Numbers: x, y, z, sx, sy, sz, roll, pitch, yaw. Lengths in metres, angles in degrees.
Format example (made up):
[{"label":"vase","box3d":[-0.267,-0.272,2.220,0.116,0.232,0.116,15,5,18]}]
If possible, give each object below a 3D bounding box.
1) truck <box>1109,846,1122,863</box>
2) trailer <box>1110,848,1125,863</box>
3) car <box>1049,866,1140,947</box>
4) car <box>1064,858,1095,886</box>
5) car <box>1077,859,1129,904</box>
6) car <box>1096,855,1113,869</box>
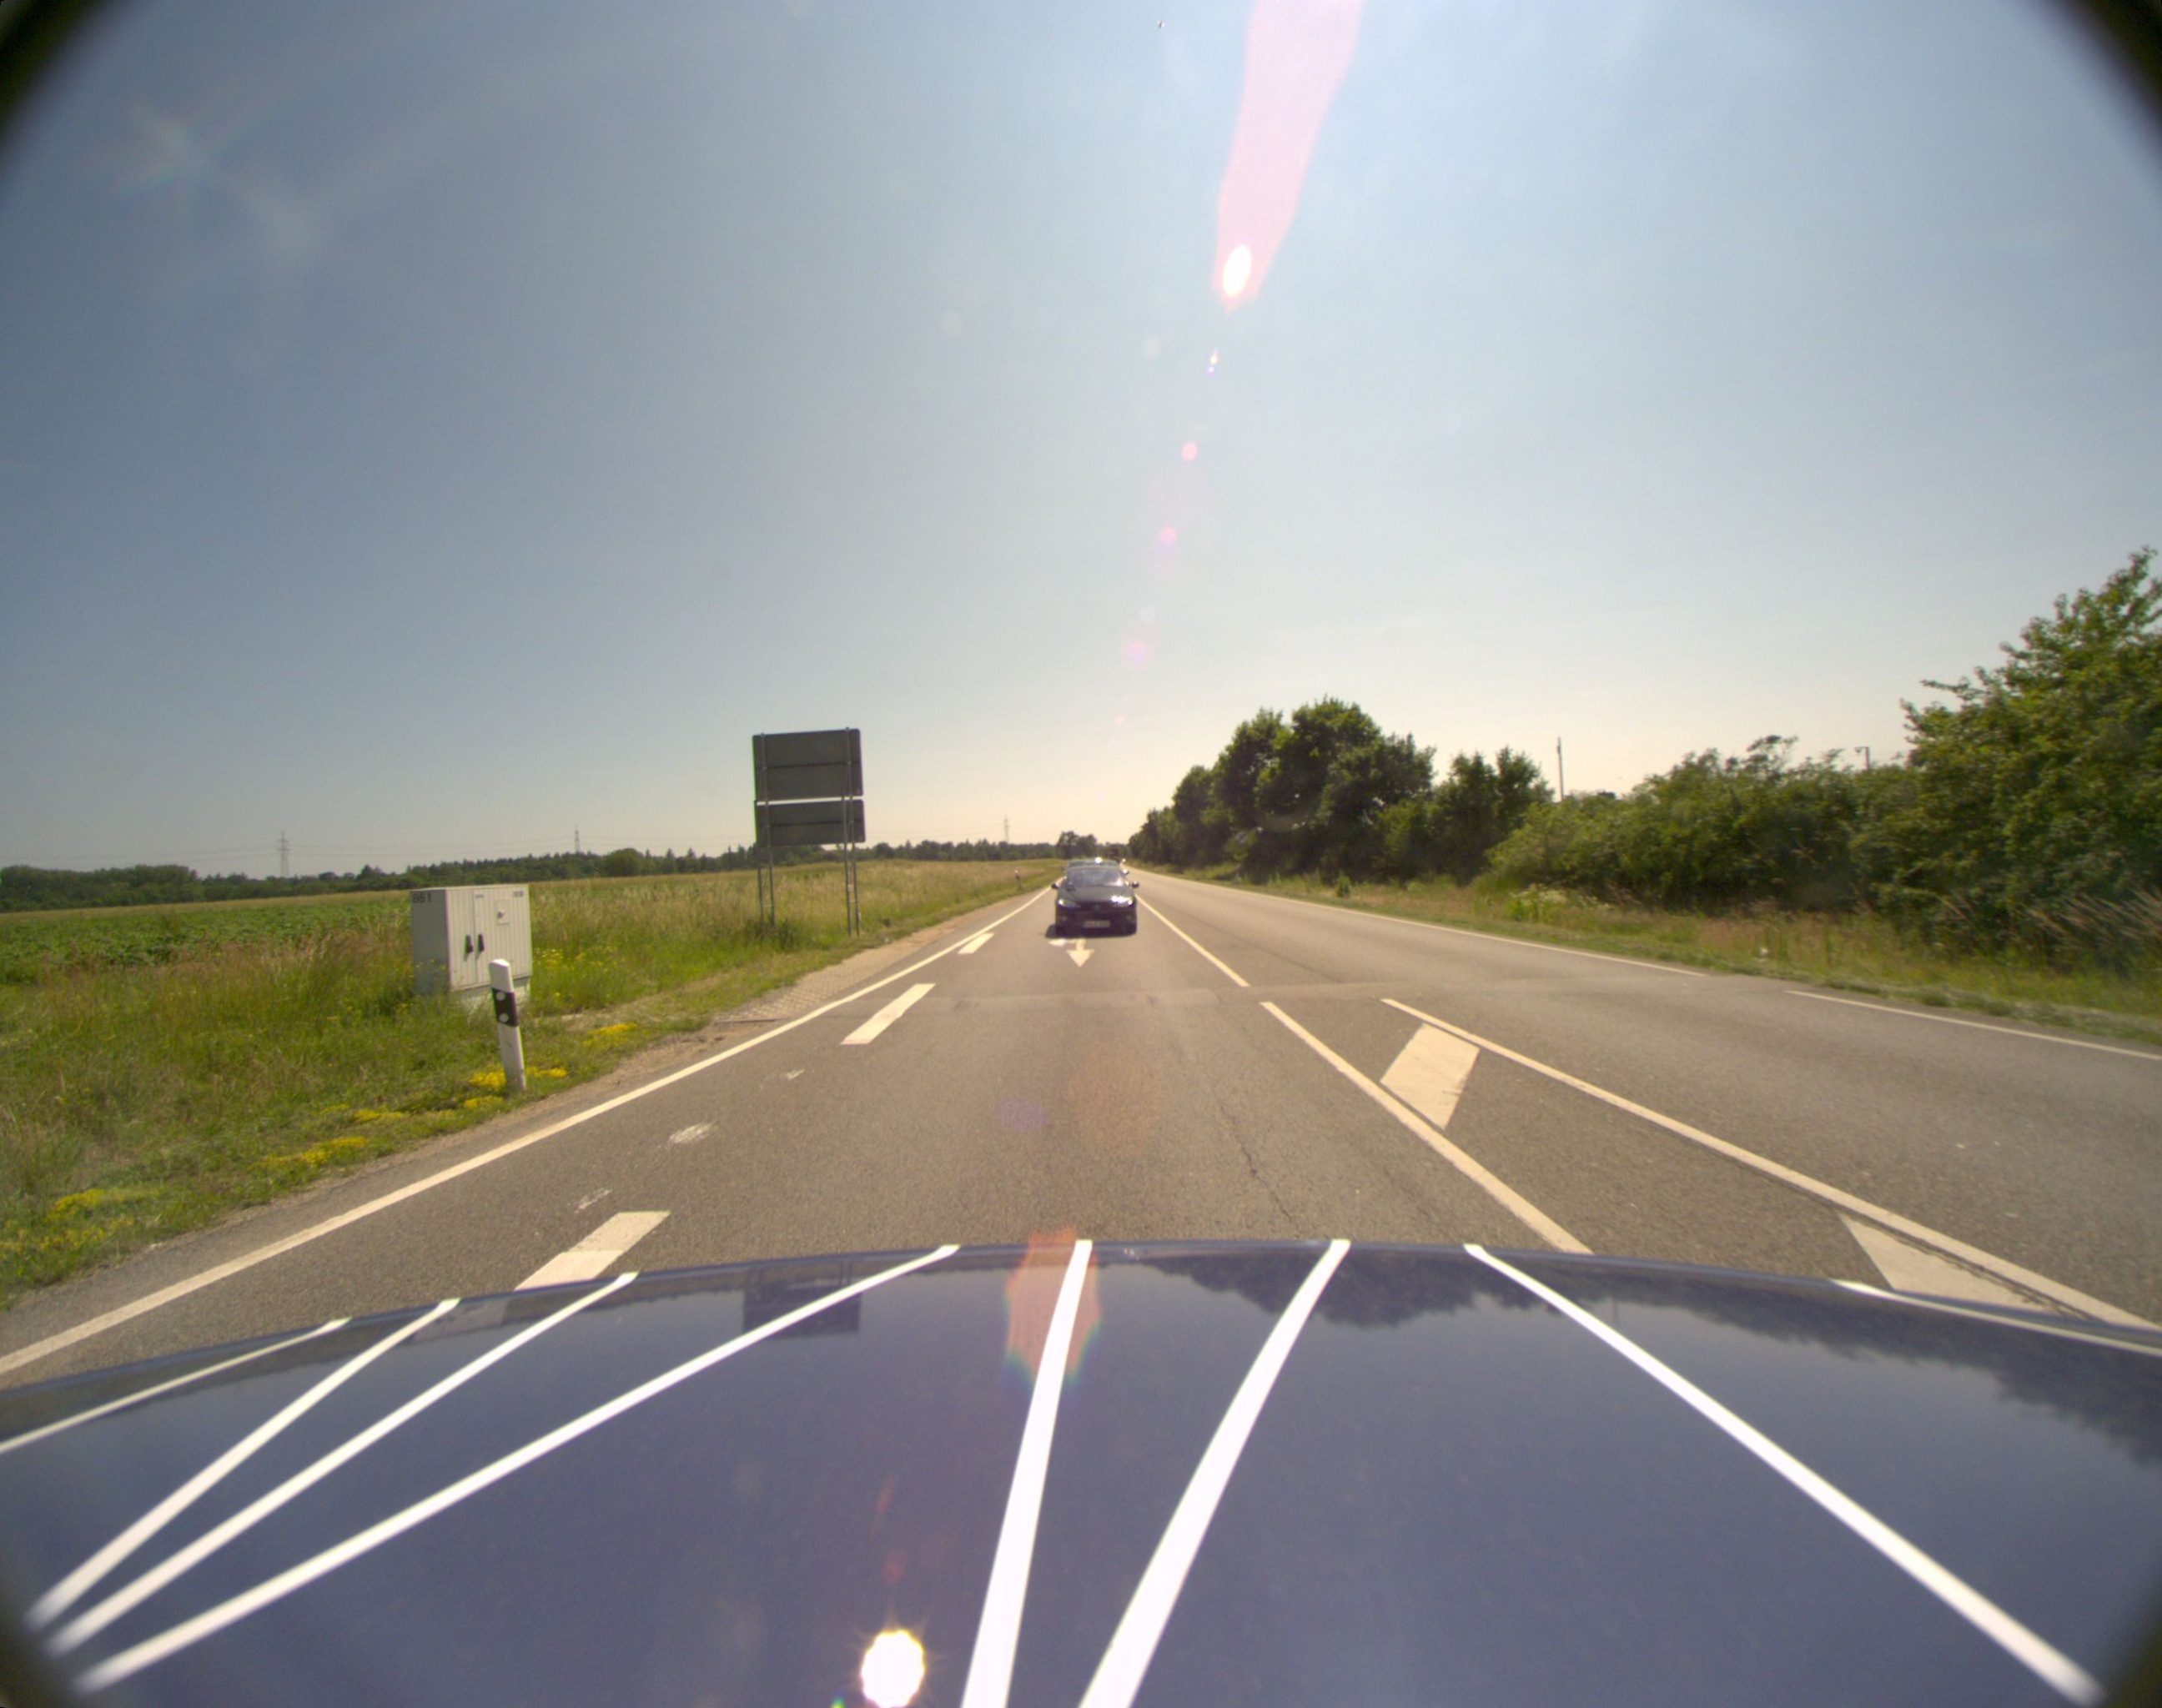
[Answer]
[{"label":"truck","box3d":[8.454,0.115,186.912,2.709,3.908,5.952,-1,0,-1]},{"label":"trailer","box3d":[8.524,0.342,179.935,2.669,3.440,14.948,-1,0,-1]},{"label":"car","box3d":[0.290,1.024,16.241,1.665,1.389,3.731,-2,0,1]},{"label":"car","box3d":[-0.122,1.008,43.756,1.665,1.449,4.172,-2,0,-1]},{"label":"car","box3d":[0.756,0.956,28.184,1.666,1.477,3.731,-2,0,-2]},{"label":"car","box3d":[2.289,0.774,74.484,1.588,1.294,3.631,-2,0,1]}]
